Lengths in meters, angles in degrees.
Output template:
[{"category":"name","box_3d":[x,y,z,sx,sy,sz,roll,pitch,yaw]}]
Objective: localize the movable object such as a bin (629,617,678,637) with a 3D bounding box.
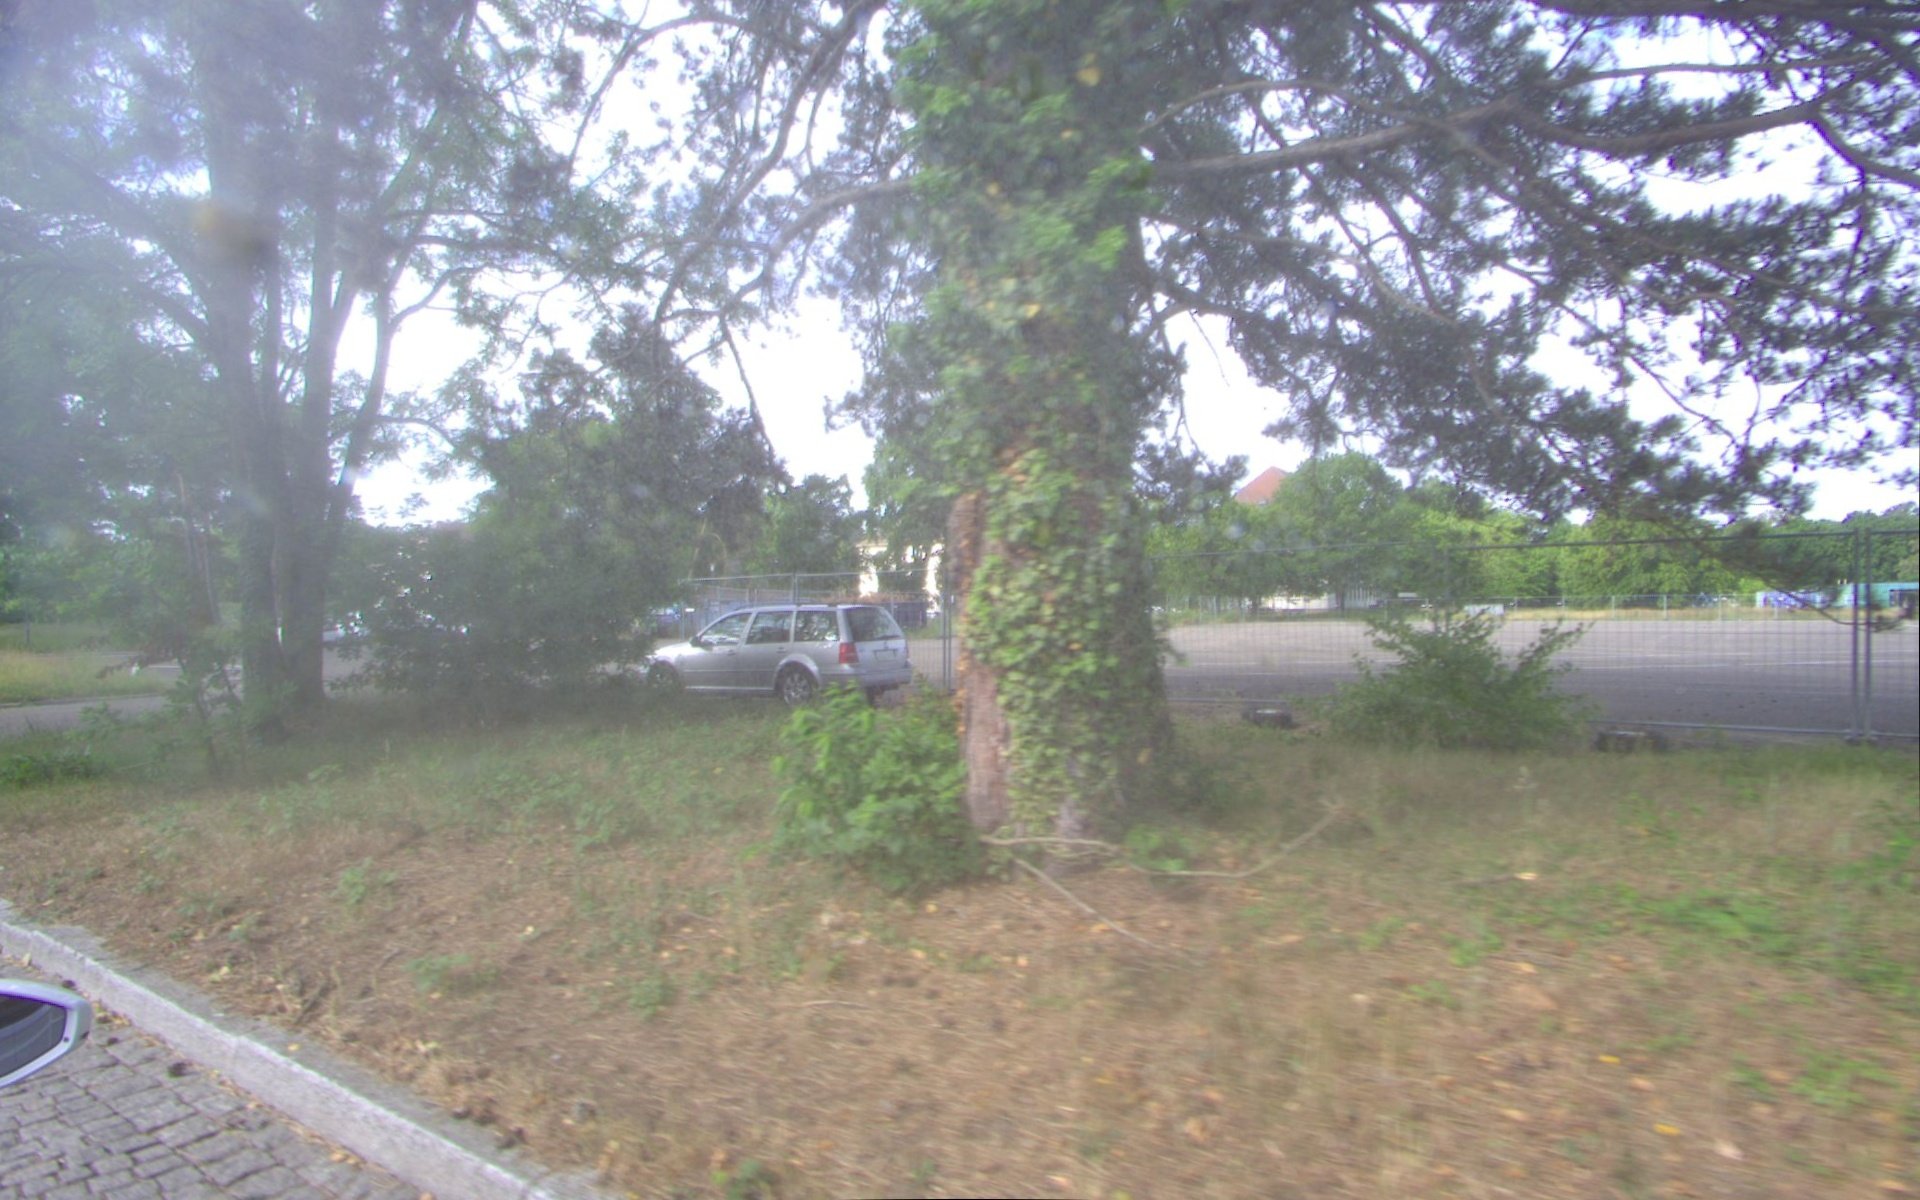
[{"category":"movable object such as a bin","box_3d":[-13.465,1.162,43.963,1.928,0.836,1.181,-1,0,37]}]

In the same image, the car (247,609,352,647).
[{"category":"car","box_3d":[-28.411,1.199,43.046,4.359,1.500,1.991,-2,-1,29]}]

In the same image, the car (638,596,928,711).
[{"category":"car","box_3d":[-2.587,0.742,14.361,4.014,1.444,1.644,-1,-3,31]}]
